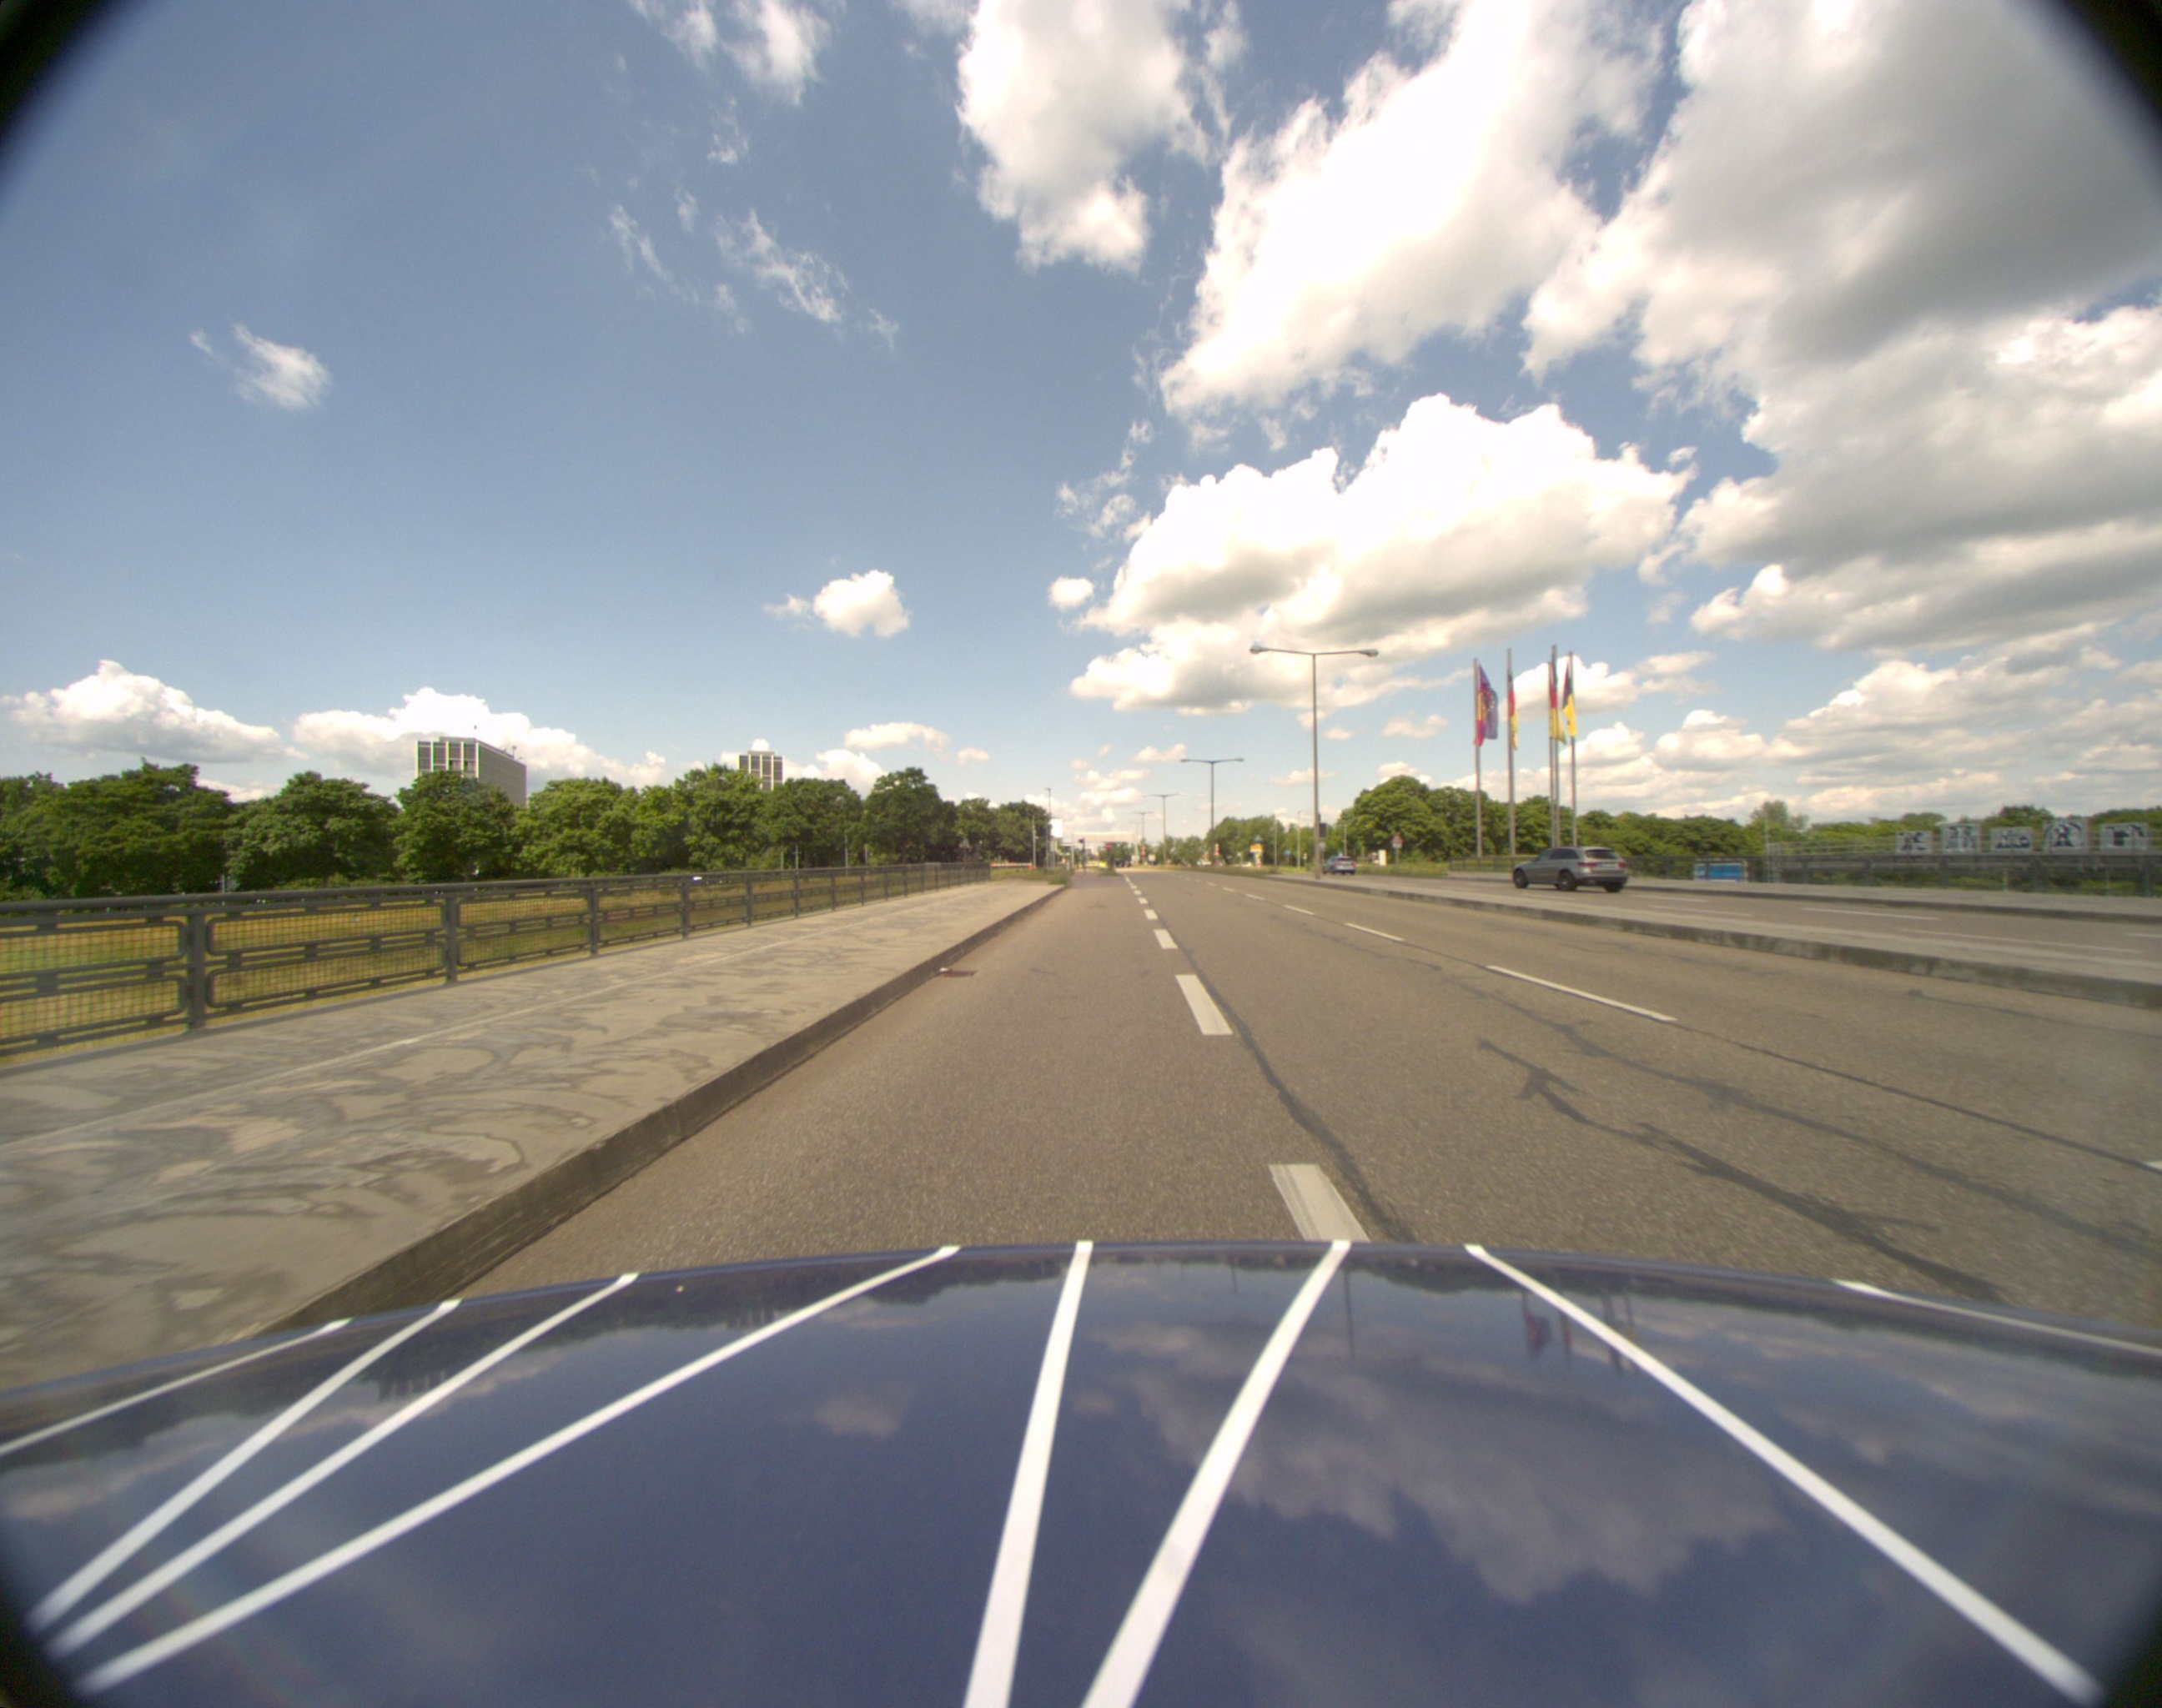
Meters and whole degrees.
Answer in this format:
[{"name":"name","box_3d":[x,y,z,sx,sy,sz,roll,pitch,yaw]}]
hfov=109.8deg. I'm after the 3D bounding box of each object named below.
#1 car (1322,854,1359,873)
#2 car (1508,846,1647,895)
[{"name":"car","box_3d":[20.707,0.777,60.866,1.667,1.405,4.551,2,0,4]},{"name":"car","box_3d":[18.343,0.586,28.401,2.094,1.617,4.549,2,-1,-2]}]
